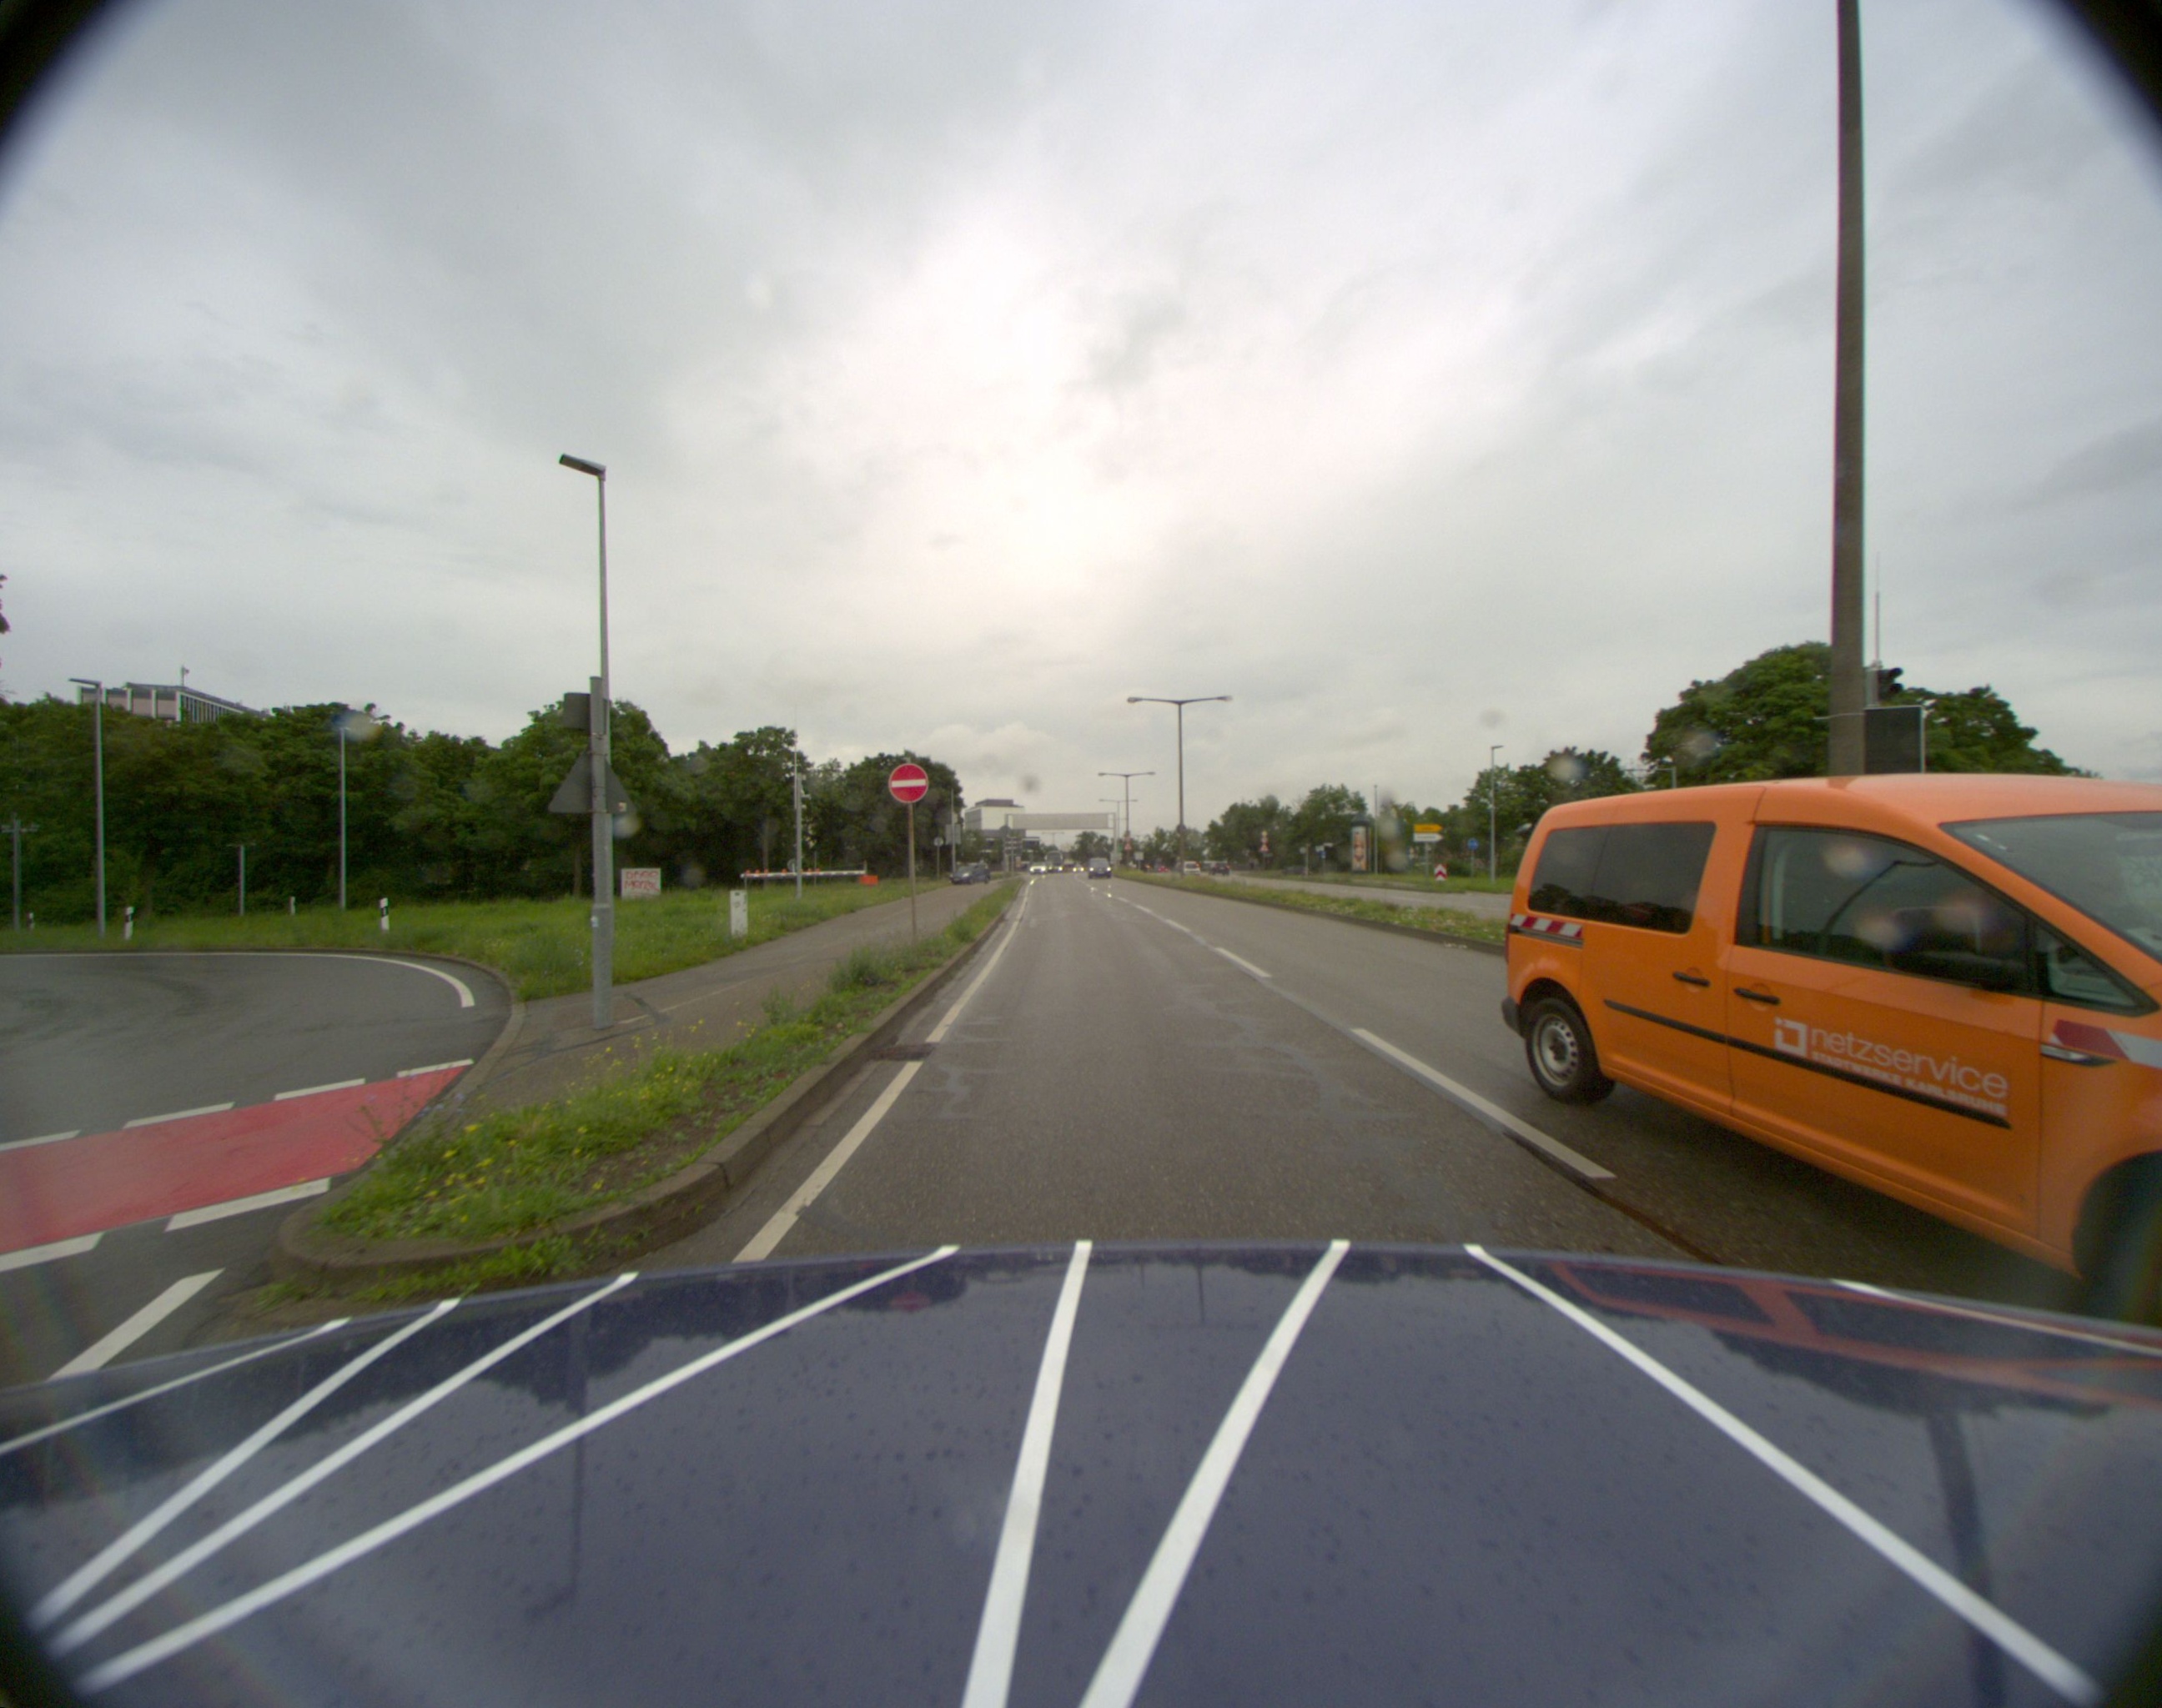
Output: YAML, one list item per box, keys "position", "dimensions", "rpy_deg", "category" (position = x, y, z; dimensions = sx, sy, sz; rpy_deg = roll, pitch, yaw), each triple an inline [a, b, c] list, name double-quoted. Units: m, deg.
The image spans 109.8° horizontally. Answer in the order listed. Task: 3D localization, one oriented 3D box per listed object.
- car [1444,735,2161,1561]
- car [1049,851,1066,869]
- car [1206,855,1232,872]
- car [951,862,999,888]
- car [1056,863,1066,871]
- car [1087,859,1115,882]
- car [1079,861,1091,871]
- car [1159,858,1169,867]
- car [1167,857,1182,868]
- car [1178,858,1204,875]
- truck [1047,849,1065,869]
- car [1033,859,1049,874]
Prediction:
- position: [3.502, 0.684, 3.146]
  dimensions: [1.739, 2.007, 4.849]
  rpy_deg: [-2, 0, 1]
  category: "car"
- position: [-3.187, 0.814, 103.368]
  dimensions: [2.252, 2.249, 5.170]
  rpy_deg: [-2, 0, -1]
  category: "car"
- position: [15.005, 1.002, 82.535]
  dimensions: [1.851, 1.740, 4.030]
  rpy_deg: [-2, 0, -3]
  category: "car"
- position: [-8.609, 1.655, 62.024]
  dimensions: [1.848, 1.740, 4.822]
  rpy_deg: [-3, 1, 18]
  category: "car"
- position: [-4.231, 2.771, 163.143]
  dimensions: [1.999, 1.701, 3.999]
  rpy_deg: [-2, 1, -1]
  category: "car"
- position: [1.645, 1.356, 64.842]
  dimensions: [1.851, 1.740, 4.816]
  rpy_deg: [-5, 0, -3]
  category: "car"
- position: [0.750, 2.258, 139.364]
  dimensions: [1.999, 1.701, 3.999]
  rpy_deg: [-2, 1, -1]
  category: "car"
- position: [17.002, 1.784, 155.711]
  dimensions: [1.850, 1.740, 4.032]
  rpy_deg: [-2, 0, 2]
  category: "car"
- position: [14.289, 1.316, 115.873]
  dimensions: [1.850, 1.513, 4.031]
  rpy_deg: [-2, 0, 1]
  category: "car"
- position: [11.399, 1.236, 78.695]
  dimensions: [1.851, 1.612, 4.030]
  rpy_deg: [-2, 0, -3]
  category: "car"
- position: [-4.297, 0.799, 131.284]
  dimensions: [2.860, 3.197, 8.096]
  rpy_deg: [-2, 1, -1]
  category: "truck"
- position: [-4.902, 1.514, 93.255]
  dimensions: [1.841, 1.739, 3.999]
  rpy_deg: [-2, 0, -1]
  category: "car"
